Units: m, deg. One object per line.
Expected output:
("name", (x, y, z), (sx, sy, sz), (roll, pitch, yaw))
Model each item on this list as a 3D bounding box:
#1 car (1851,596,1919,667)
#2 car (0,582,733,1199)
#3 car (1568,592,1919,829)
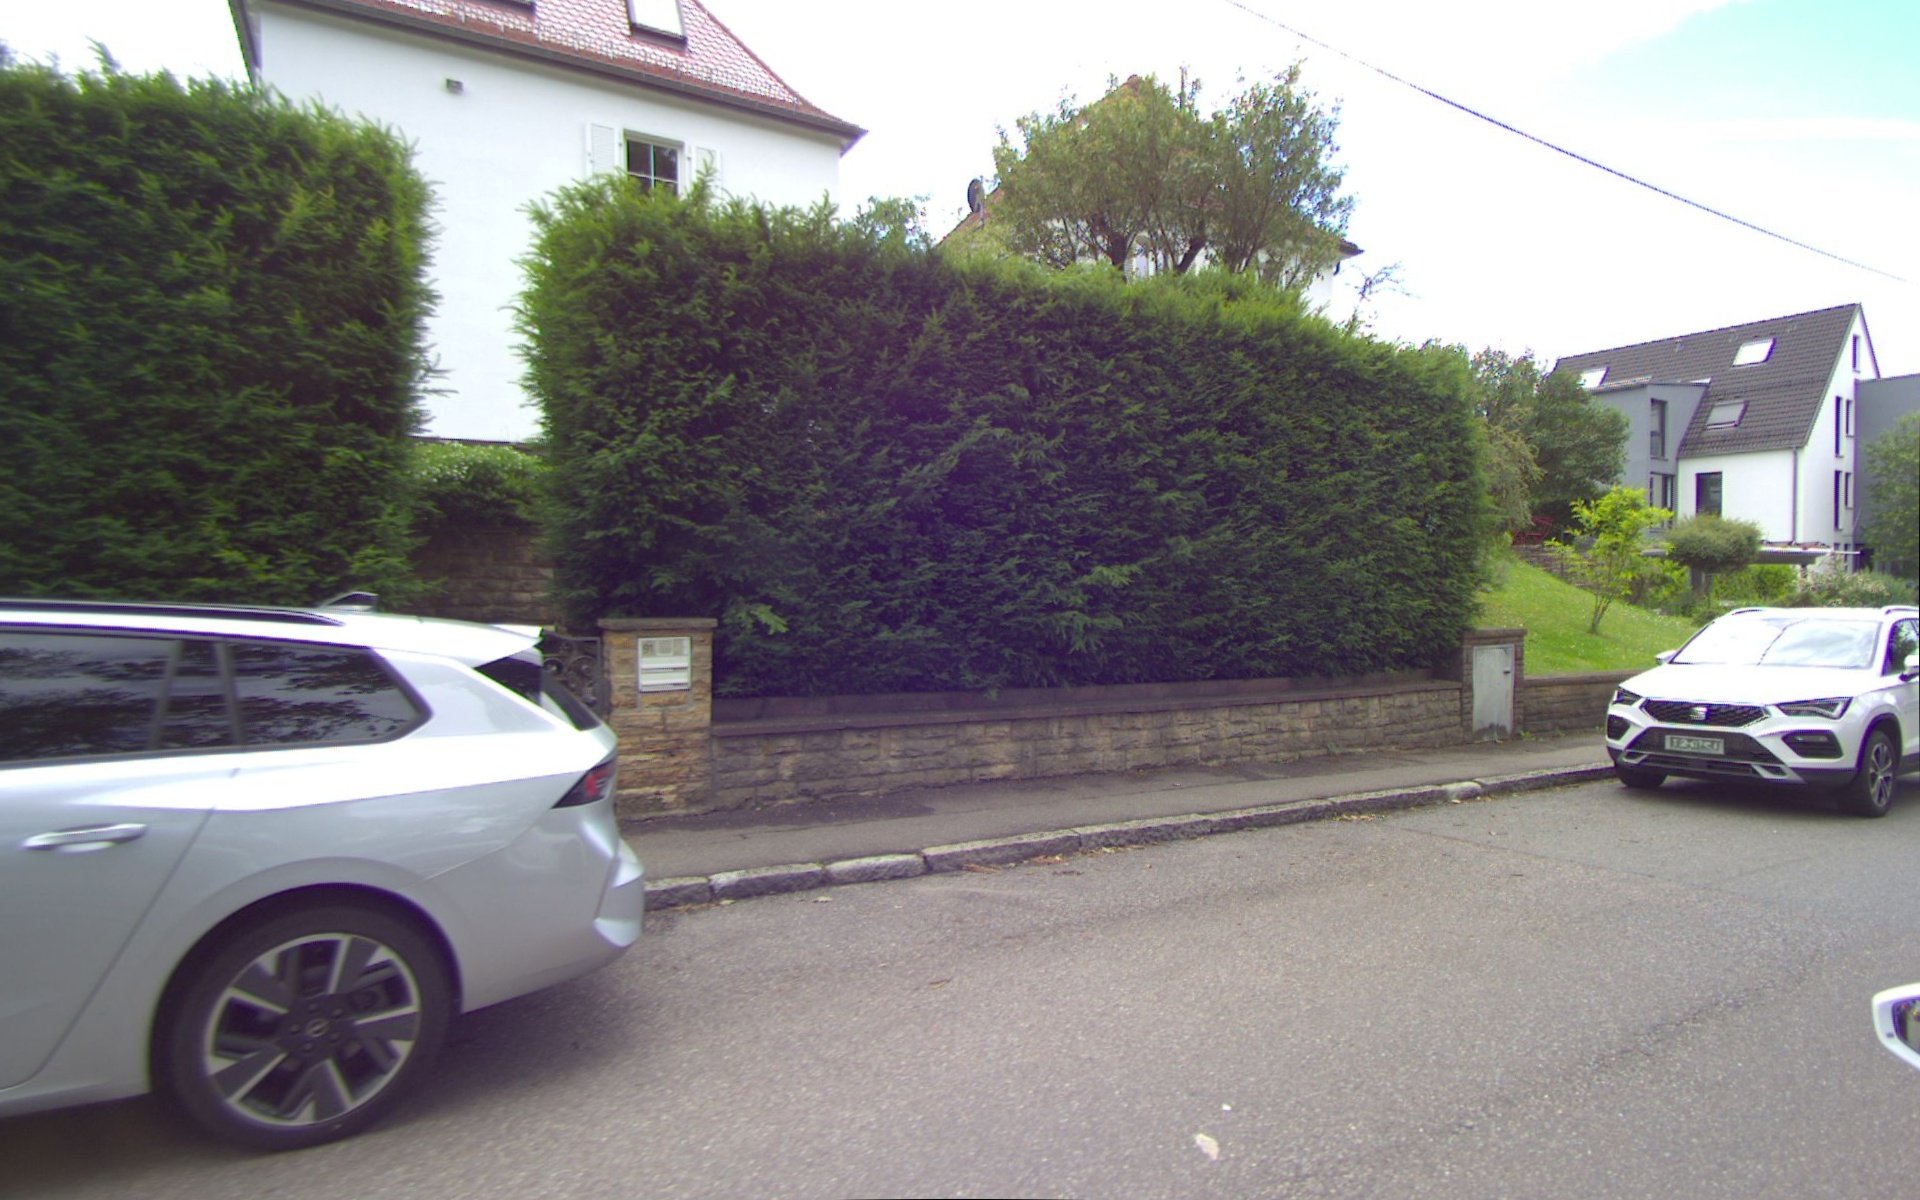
("car", (25.003, 0.802, 24.465), (1.978, 1.720, 4.589), (1, 0, -33))
("car", (-3.062, 0.731, 2.848), (4.421, 1.519, 1.755), (1, -2, -31))
("car", (7.469, 0.828, 8.959), (4.138, 1.670, 1.829), (1, -2, -32))
